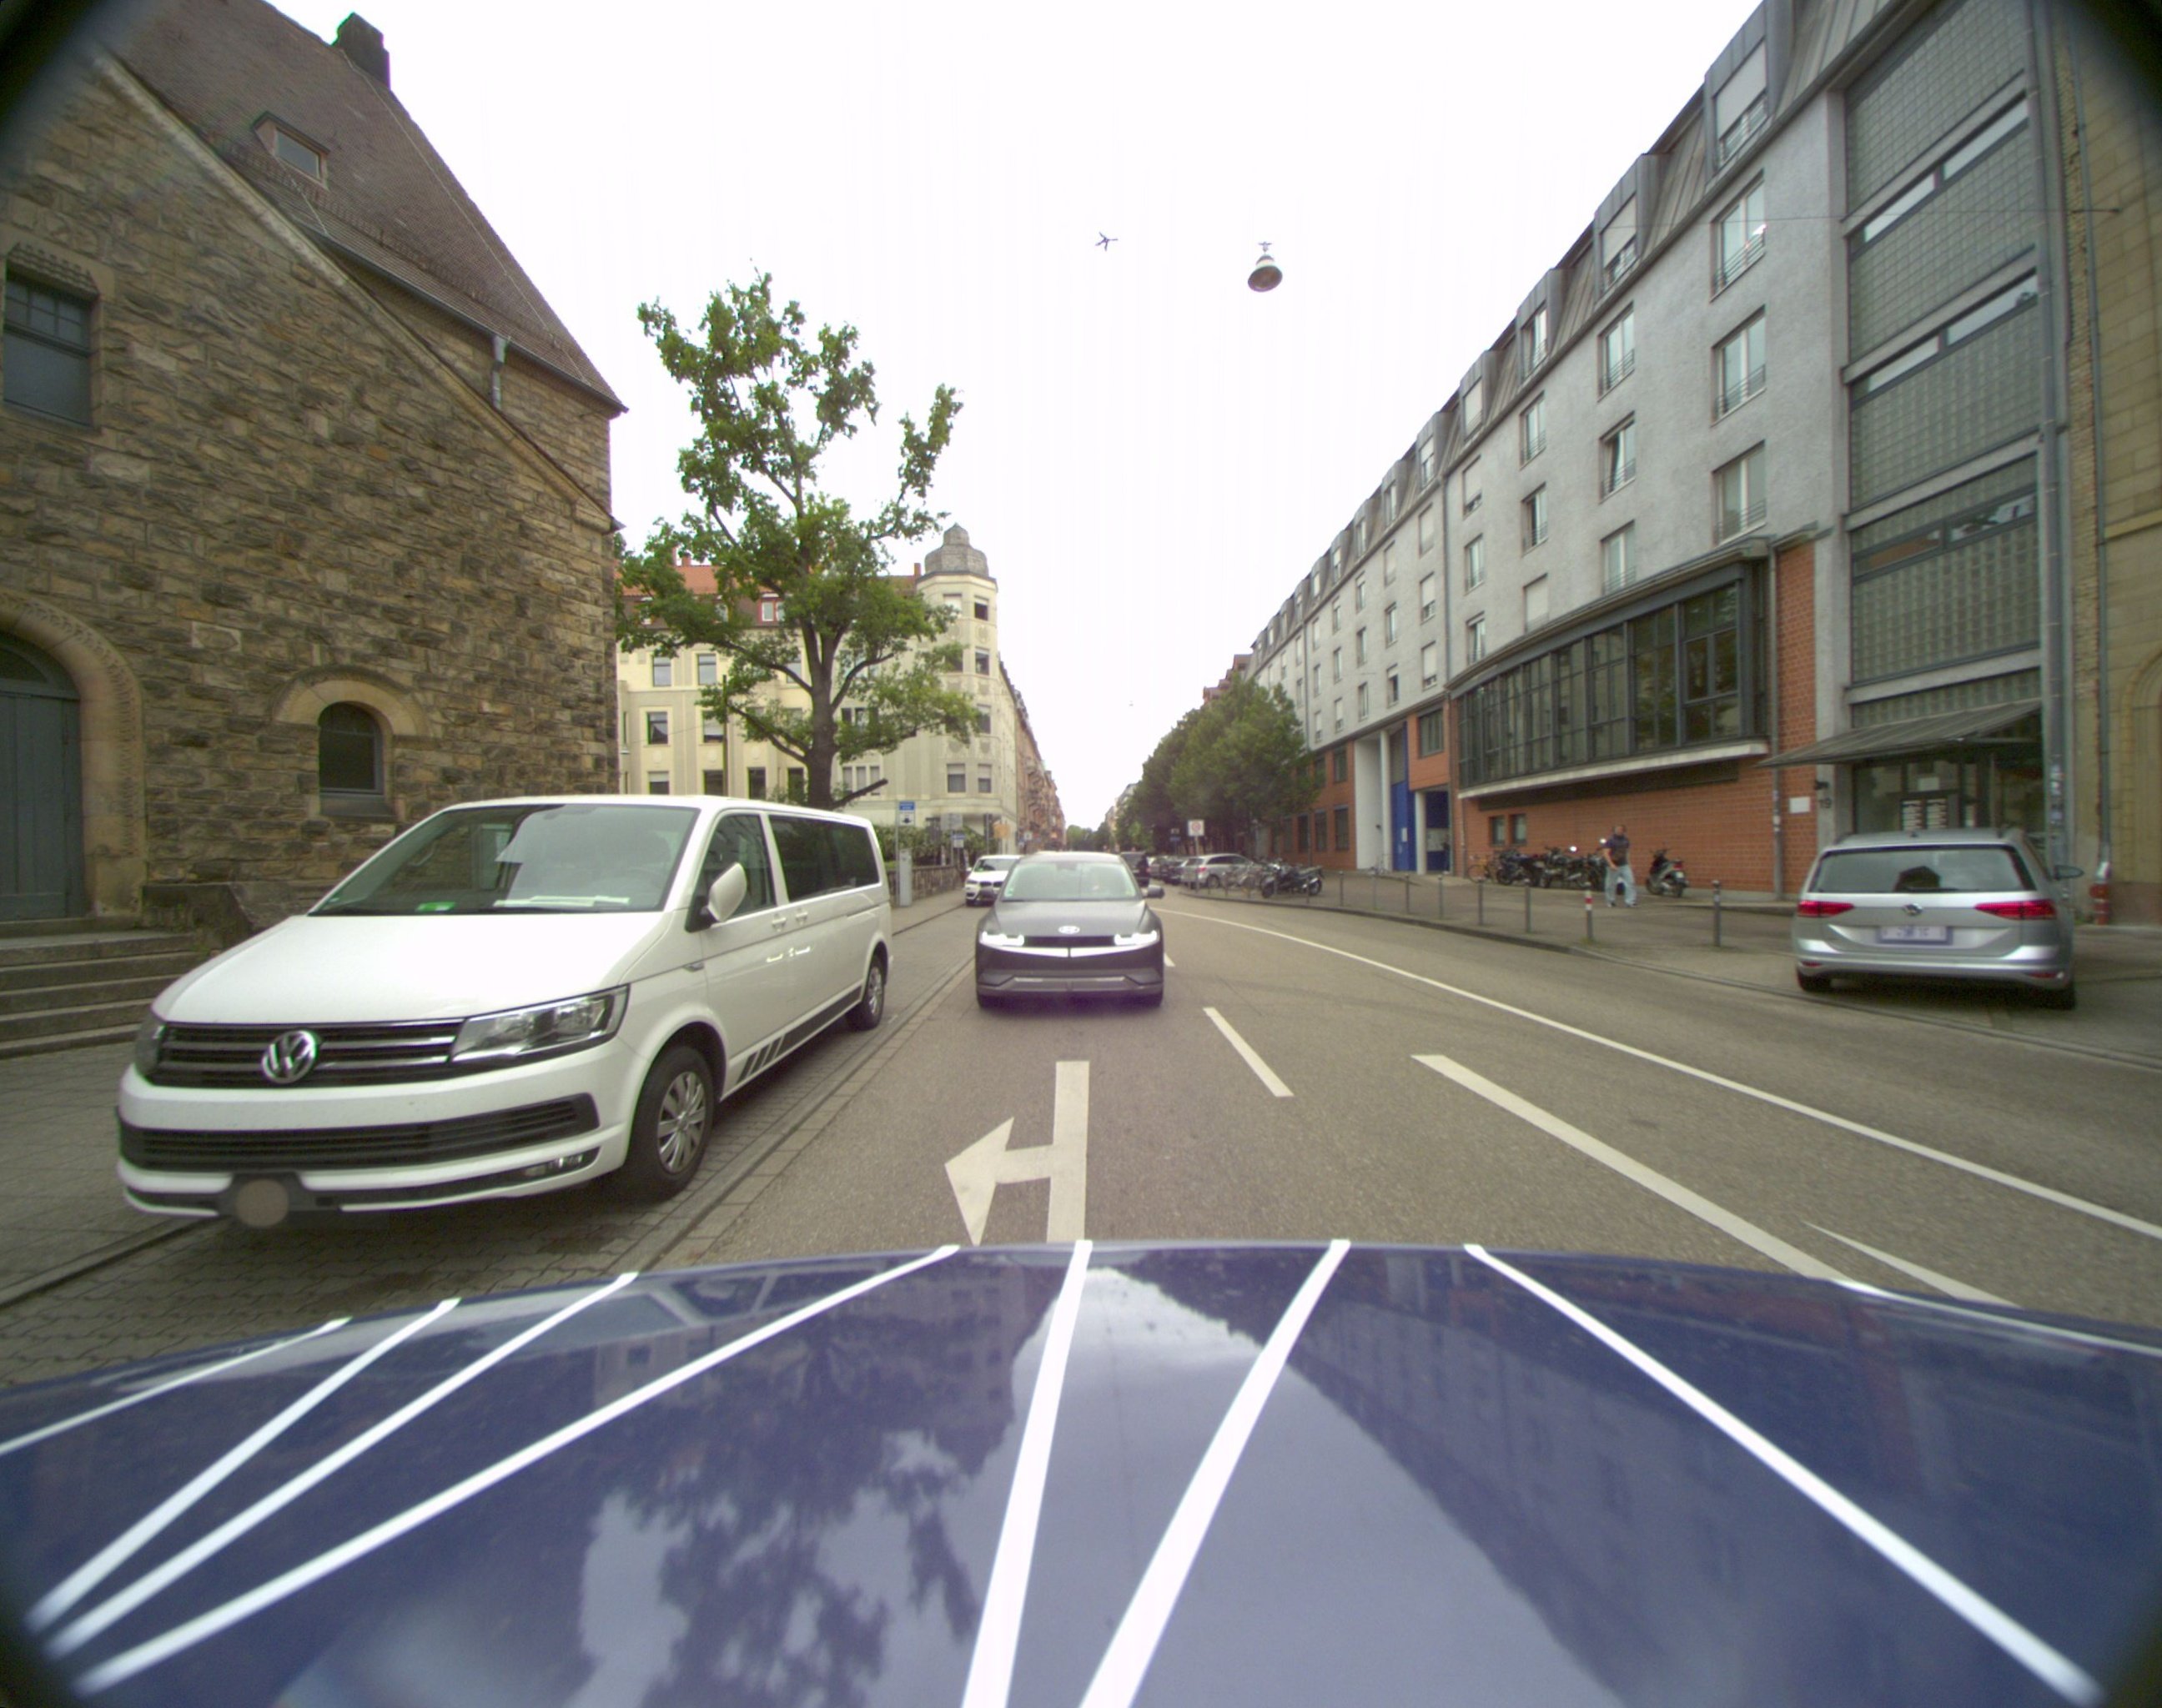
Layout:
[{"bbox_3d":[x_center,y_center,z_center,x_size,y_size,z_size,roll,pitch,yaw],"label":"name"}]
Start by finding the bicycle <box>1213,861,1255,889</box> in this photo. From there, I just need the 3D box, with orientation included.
[{"bbox_3d":[6.297,0.869,31.310,1.630,1.067,0.416,-3,1,-1],"label":"bicycle"}]

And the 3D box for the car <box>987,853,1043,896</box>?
[{"bbox_3d":[-2.589,0.773,30.730,1.820,1.556,4.000,-1,0,1],"label":"car"}]

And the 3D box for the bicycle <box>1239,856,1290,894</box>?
[{"bbox_3d":[6.503,0.739,26.963,1.630,1.282,0.416,-3,1,-1],"label":"bicycle"}]

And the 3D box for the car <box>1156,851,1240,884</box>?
[{"bbox_3d":[6.299,0.698,40.917,4.004,1.619,1.996,-1,0,-22],"label":"car"}]

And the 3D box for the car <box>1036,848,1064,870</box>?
[{"bbox_3d":[-2.296,0.348,57.231,1.820,1.556,4.000,-1,0,1],"label":"car"}]

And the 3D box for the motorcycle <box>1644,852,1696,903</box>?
[{"bbox_3d":[13.582,0.519,17.552,0.445,1.091,1.765,-1,0,21],"label":"motorcycle"}]

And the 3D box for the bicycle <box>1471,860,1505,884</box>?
[{"bbox_3d":[13.931,0.608,26.038,0.336,0.783,1.581,-1,0,1],"label":"bicycle"}]

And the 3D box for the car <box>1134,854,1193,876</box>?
[{"bbox_3d":[6.118,0.811,56.270,4.004,1.488,1.735,-1,0,-22],"label":"car"}]

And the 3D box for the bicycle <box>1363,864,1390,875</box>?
[{"bbox_3d":[13.479,0.697,34.681,1.010,0.434,0.527,-1,2,2],"label":"bicycle"}]

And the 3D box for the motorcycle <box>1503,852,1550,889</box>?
[{"bbox_3d":[13.718,0.492,23.453,0.446,1.091,1.763,-1,0,1],"label":"motorcycle"}]

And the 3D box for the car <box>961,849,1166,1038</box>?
[{"bbox_3d":[-0.127,0.804,8.843,1.820,1.675,4.000,-1,0,1],"label":"car"}]

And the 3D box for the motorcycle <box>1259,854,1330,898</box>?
[{"bbox_3d":[7.030,0.722,25.085,2.124,1.345,0.599,-3,1,1],"label":"motorcycle"}]

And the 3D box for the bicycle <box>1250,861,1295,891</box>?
[{"bbox_3d":[7.444,0.850,29.570,1.630,1.067,0.416,-3,1,-1],"label":"bicycle"}]

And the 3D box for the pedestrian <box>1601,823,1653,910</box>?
[{"bbox_3d":[11.598,0.265,16.157,0.621,1.812,0.642,-1,1,1],"label":"pedestrian"}]

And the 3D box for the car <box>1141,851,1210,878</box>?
[{"bbox_3d":[6.167,0.672,49.633,4.004,1.619,1.996,-1,0,-22],"label":"car"}]

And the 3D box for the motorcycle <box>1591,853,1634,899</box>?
[{"bbox_3d":[13.382,0.524,19.168,0.445,1.091,1.765,-1,0,21],"label":"motorcycle"}]

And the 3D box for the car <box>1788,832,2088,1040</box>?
[{"bbox_3d":[9.091,0.657,8.040,4.007,1.545,1.729,-4,0,-39],"label":"car"}]

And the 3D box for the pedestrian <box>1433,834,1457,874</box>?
[{"bbox_3d":[15.447,-0.009,32.237,0.686,1.640,0.622,-2,1,2],"label":"pedestrian"}]

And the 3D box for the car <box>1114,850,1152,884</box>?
[{"bbox_3d":[2.807,0.680,41.757,1.698,1.793,4.128,-1,0,-2],"label":"car"}]

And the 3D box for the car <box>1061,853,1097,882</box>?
[{"bbox_3d":[-0.050,0.754,44.528,1.910,1.597,4.251,-1,0,2],"label":"car"}]

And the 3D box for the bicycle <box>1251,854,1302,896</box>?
[{"bbox_3d":[6.749,0.713,26.258,1.630,1.345,0.416,-3,1,-1],"label":"bicycle"}]

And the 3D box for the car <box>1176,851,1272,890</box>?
[{"bbox_3d":[6.599,0.732,35.038,4.004,1.619,1.769,-1,0,-22],"label":"car"}]

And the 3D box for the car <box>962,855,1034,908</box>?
[{"bbox_3d":[-2.603,0.825,24.720,1.820,1.556,4.000,-1,0,1],"label":"car"}]

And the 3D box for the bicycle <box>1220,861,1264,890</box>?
[{"bbox_3d":[6.505,0.867,30.695,1.630,1.067,0.416,-3,1,-1],"label":"bicycle"}]

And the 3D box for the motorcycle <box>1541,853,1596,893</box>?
[{"bbox_3d":[13.719,0.517,21.446,0.446,1.091,1.763,-1,0,1],"label":"motorcycle"}]

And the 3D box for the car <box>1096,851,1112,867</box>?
[{"bbox_3d":[2.874,0.617,94.873,1.998,1.897,4.000,-1,0,2],"label":"car"}]

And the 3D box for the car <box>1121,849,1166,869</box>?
[{"bbox_3d":[6.220,0.493,75.931,4.004,1.897,1.996,-1,0,-22],"label":"car"}]

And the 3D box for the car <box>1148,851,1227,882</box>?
[{"bbox_3d":[6.115,0.679,43.687,4.004,1.619,1.996,-1,0,-22],"label":"car"}]

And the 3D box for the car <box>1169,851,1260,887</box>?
[{"bbox_3d":[6.616,0.717,37.698,4.004,1.619,1.996,-1,0,-22],"label":"car"}]

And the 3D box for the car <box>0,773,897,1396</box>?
[{"bbox_3d":[-2.725,0.717,4.943,1.810,1.908,5.163,-1,0,-1],"label":"car"}]
